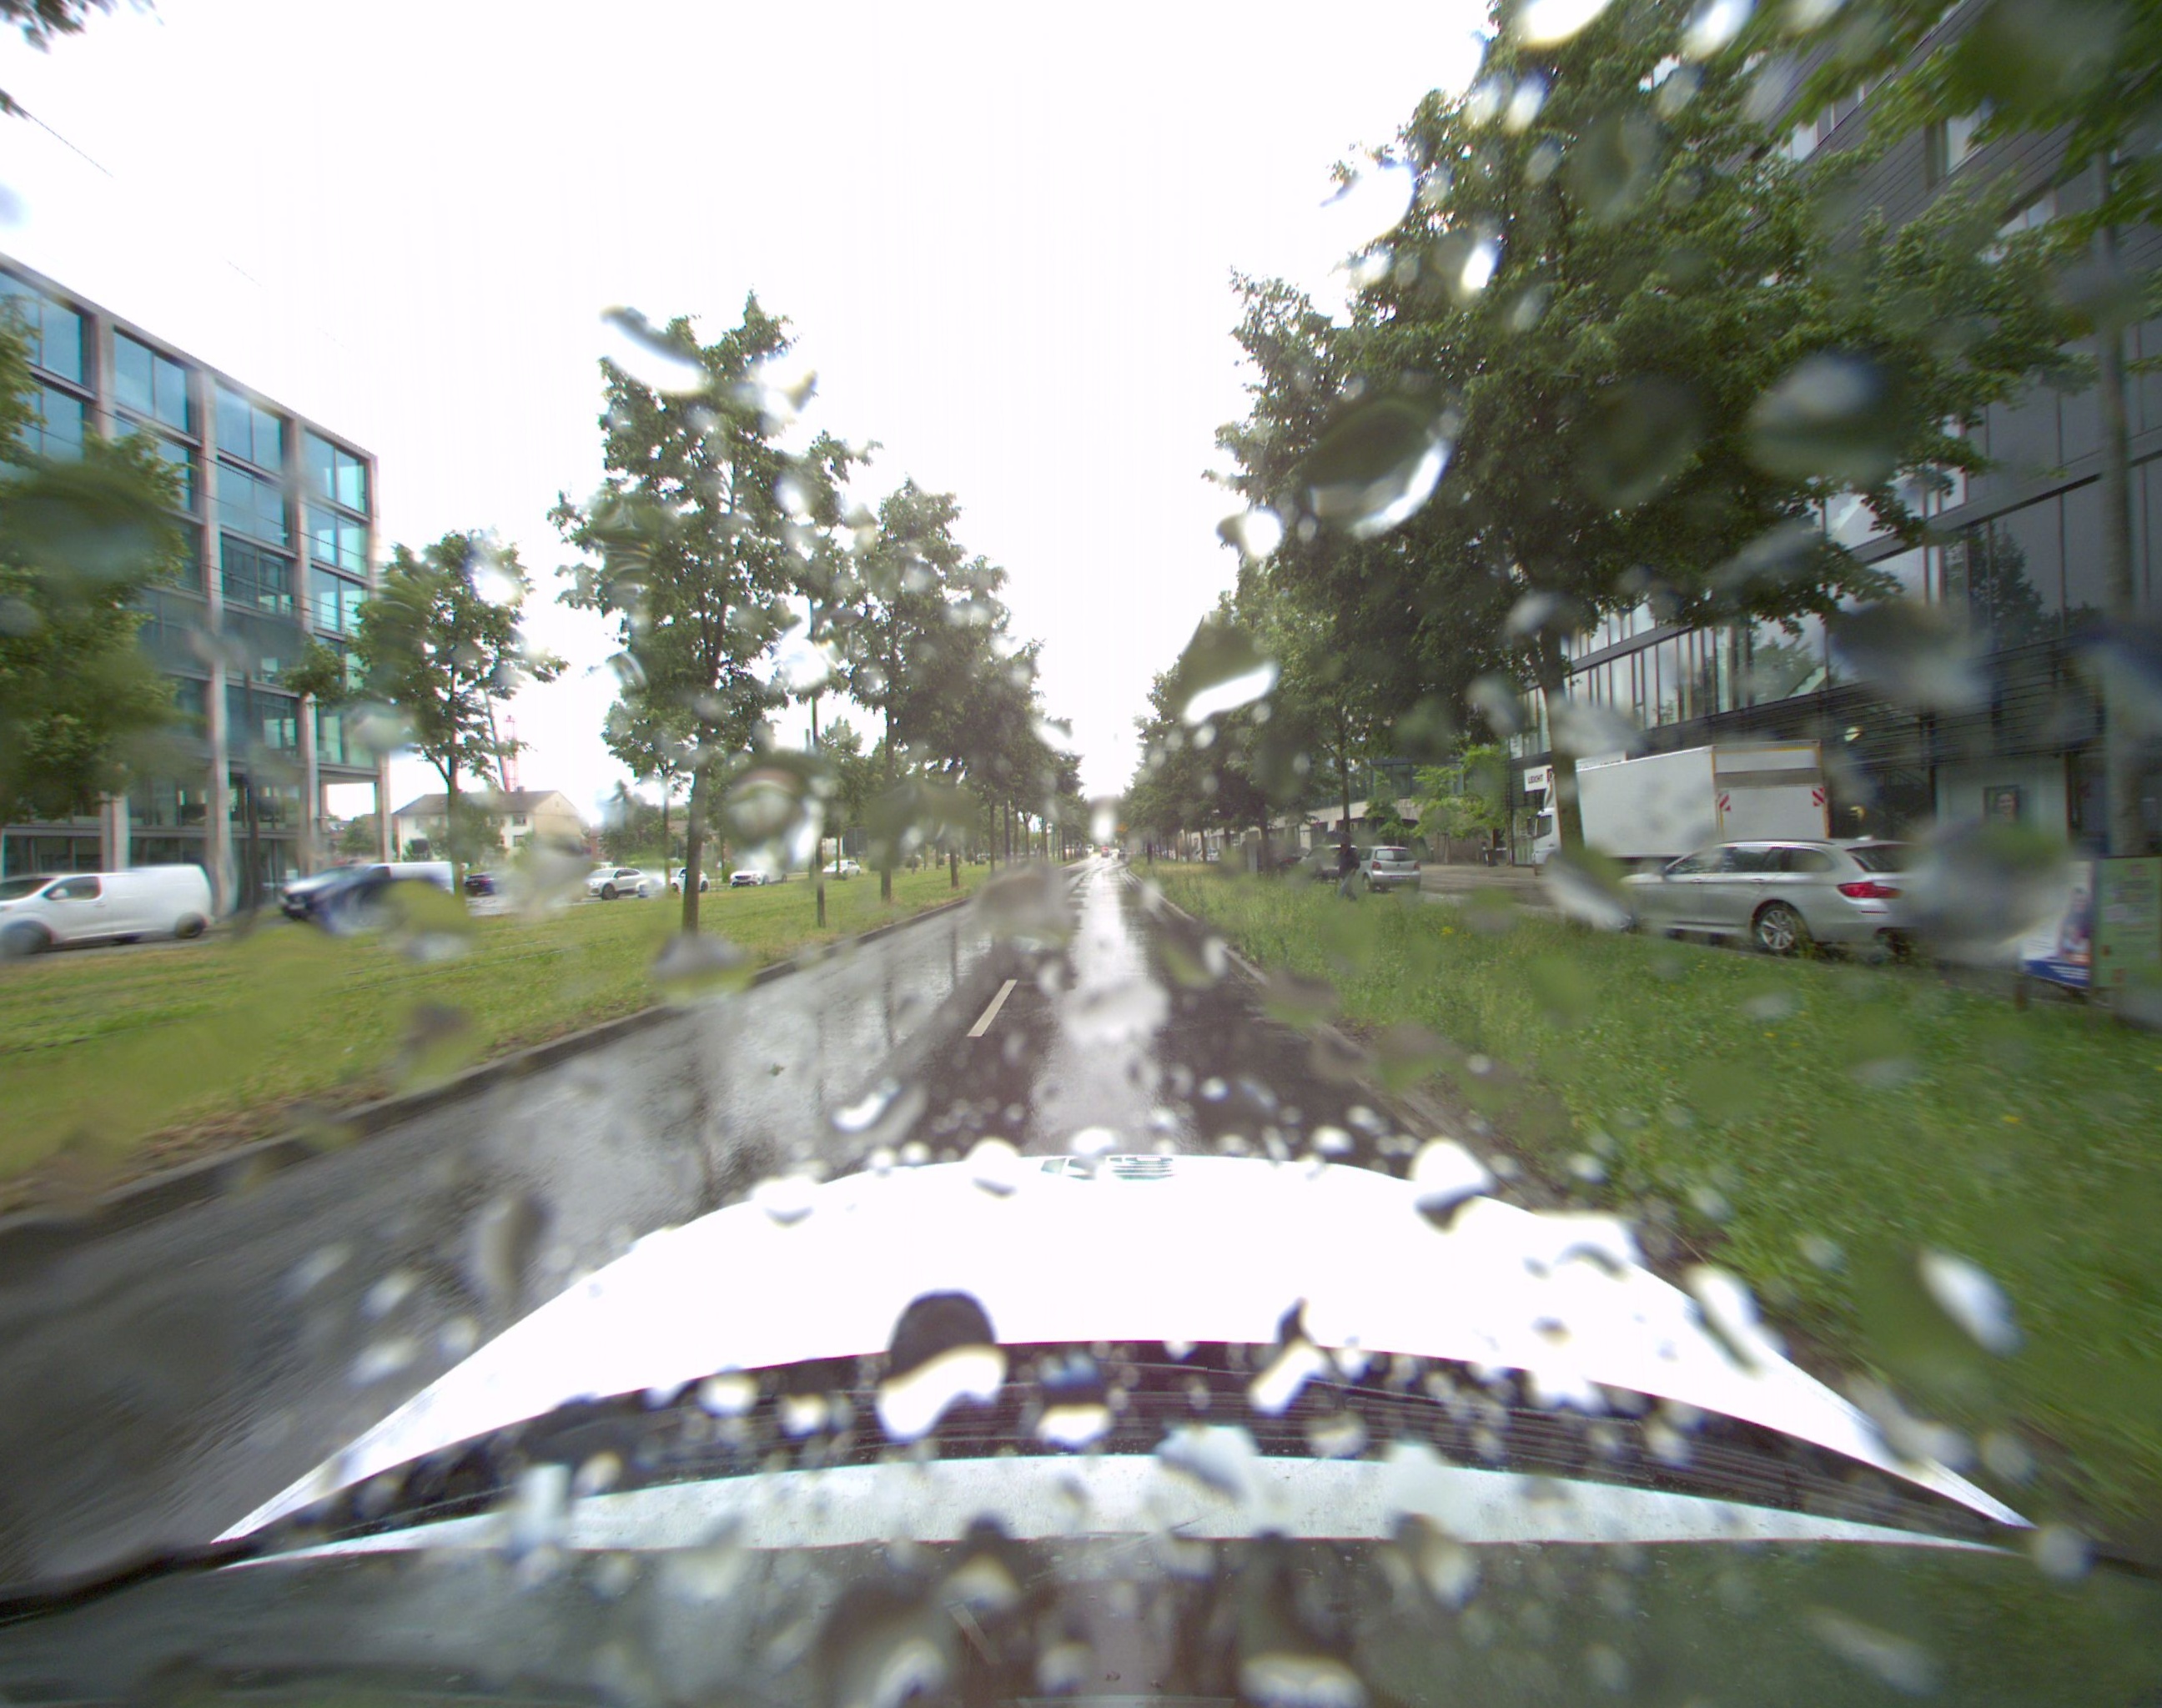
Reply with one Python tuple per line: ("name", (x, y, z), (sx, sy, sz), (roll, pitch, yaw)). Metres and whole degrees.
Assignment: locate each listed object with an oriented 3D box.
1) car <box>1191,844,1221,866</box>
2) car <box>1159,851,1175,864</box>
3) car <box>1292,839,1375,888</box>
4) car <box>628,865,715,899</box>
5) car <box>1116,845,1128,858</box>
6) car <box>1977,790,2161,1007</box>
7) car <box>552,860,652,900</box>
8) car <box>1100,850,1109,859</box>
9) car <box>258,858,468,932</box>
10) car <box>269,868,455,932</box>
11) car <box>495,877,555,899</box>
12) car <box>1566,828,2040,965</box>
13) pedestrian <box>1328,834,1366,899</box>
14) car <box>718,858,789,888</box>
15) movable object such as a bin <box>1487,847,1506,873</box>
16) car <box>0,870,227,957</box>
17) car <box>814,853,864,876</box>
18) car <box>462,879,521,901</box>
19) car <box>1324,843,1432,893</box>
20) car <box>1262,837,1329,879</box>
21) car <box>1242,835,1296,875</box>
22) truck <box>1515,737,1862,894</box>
("car", (10.711, 0.068, 70.107), (1.986, 1.669, 4.727), (-2, 2, 2))
("car", (12.286, 0.511, 116.197), (1.874, 1.505, 4.727), (-2, 2, 2))
("car", (10.022, 0.311, 32.742), (1.986, 1.669, 4.727), (-2, 2, 2))
("car", (-20.526, 1.361, 41.083), (1.943, 1.513, 4.577), (-1, 0, 1))
("car", (7.327, -0.459, 145.101), (1.933, 2.013, 4.003), (-2, 2, 2))
("car", (8.760, 0.337, 5.160), (1.754, 1.596, 4.103), (-2, 2, 2))
("car", (-23.653, 1.235, 40.457), (1.942, 1.749, 4.582), (-1, 0, 5))
("car", (5.762, 0.197, 201.453), (1.985, 2.013, 4.005), (-1, 2, 4))
("car", (-24.633, 1.306, 28.335), (2.259, 2.006, 5.378), (-1, 2, 3))
("car", (-21.603, 1.330, 24.719), (1.943, 1.494, 3.965), (-2, 2, 2))
("car", (-39.668, 2.392, 58.233), (1.493, 1.239, 3.665), (-1, 2, 5))
("car", (9.443, 0.454, 11.504), (1.988, 1.444, 5.234), (-1, 0, -1))
("pedestrian", (6.304, 0.283, 19.303), (0.640, 1.493, 0.700), (-1, 0, -1))
("car", (-18.041, 1.016, 45.131), (1.943, 1.452, 4.577), (-1, 0, 1))
("movable object such as a bin", (20.976, 0.316, 41.135), (0.606, 1.276, 0.647), (-2, 2, -3))
("car", (-24.962, 1.392, 20.296), (1.945, 1.651, 5.029), (-2, 2, 0))
("car", (-18.292, 0.763, 61.839), (1.941, 1.460, 4.839), (-1, 2, 5))
("car", (-42.299, 2.597, 58.513), (1.371, 1.239, 3.490), (-1, 2, 5))
("car", (9.593, 0.385, 26.747), (1.764, 1.452, 4.722), (-1, 1, -1))
("car", (10.090, 0.131, 38.692), (1.986, 1.668, 4.962), (-2, 2, 2))
("car", (10.462, -0.007, 45.568), (1.986, 1.952, 5.032), (-2, 2, 2))
("truck", (15.810, -0.879, 22.392), (3.016, 3.441, 8.544), (-1, 0, -1))
